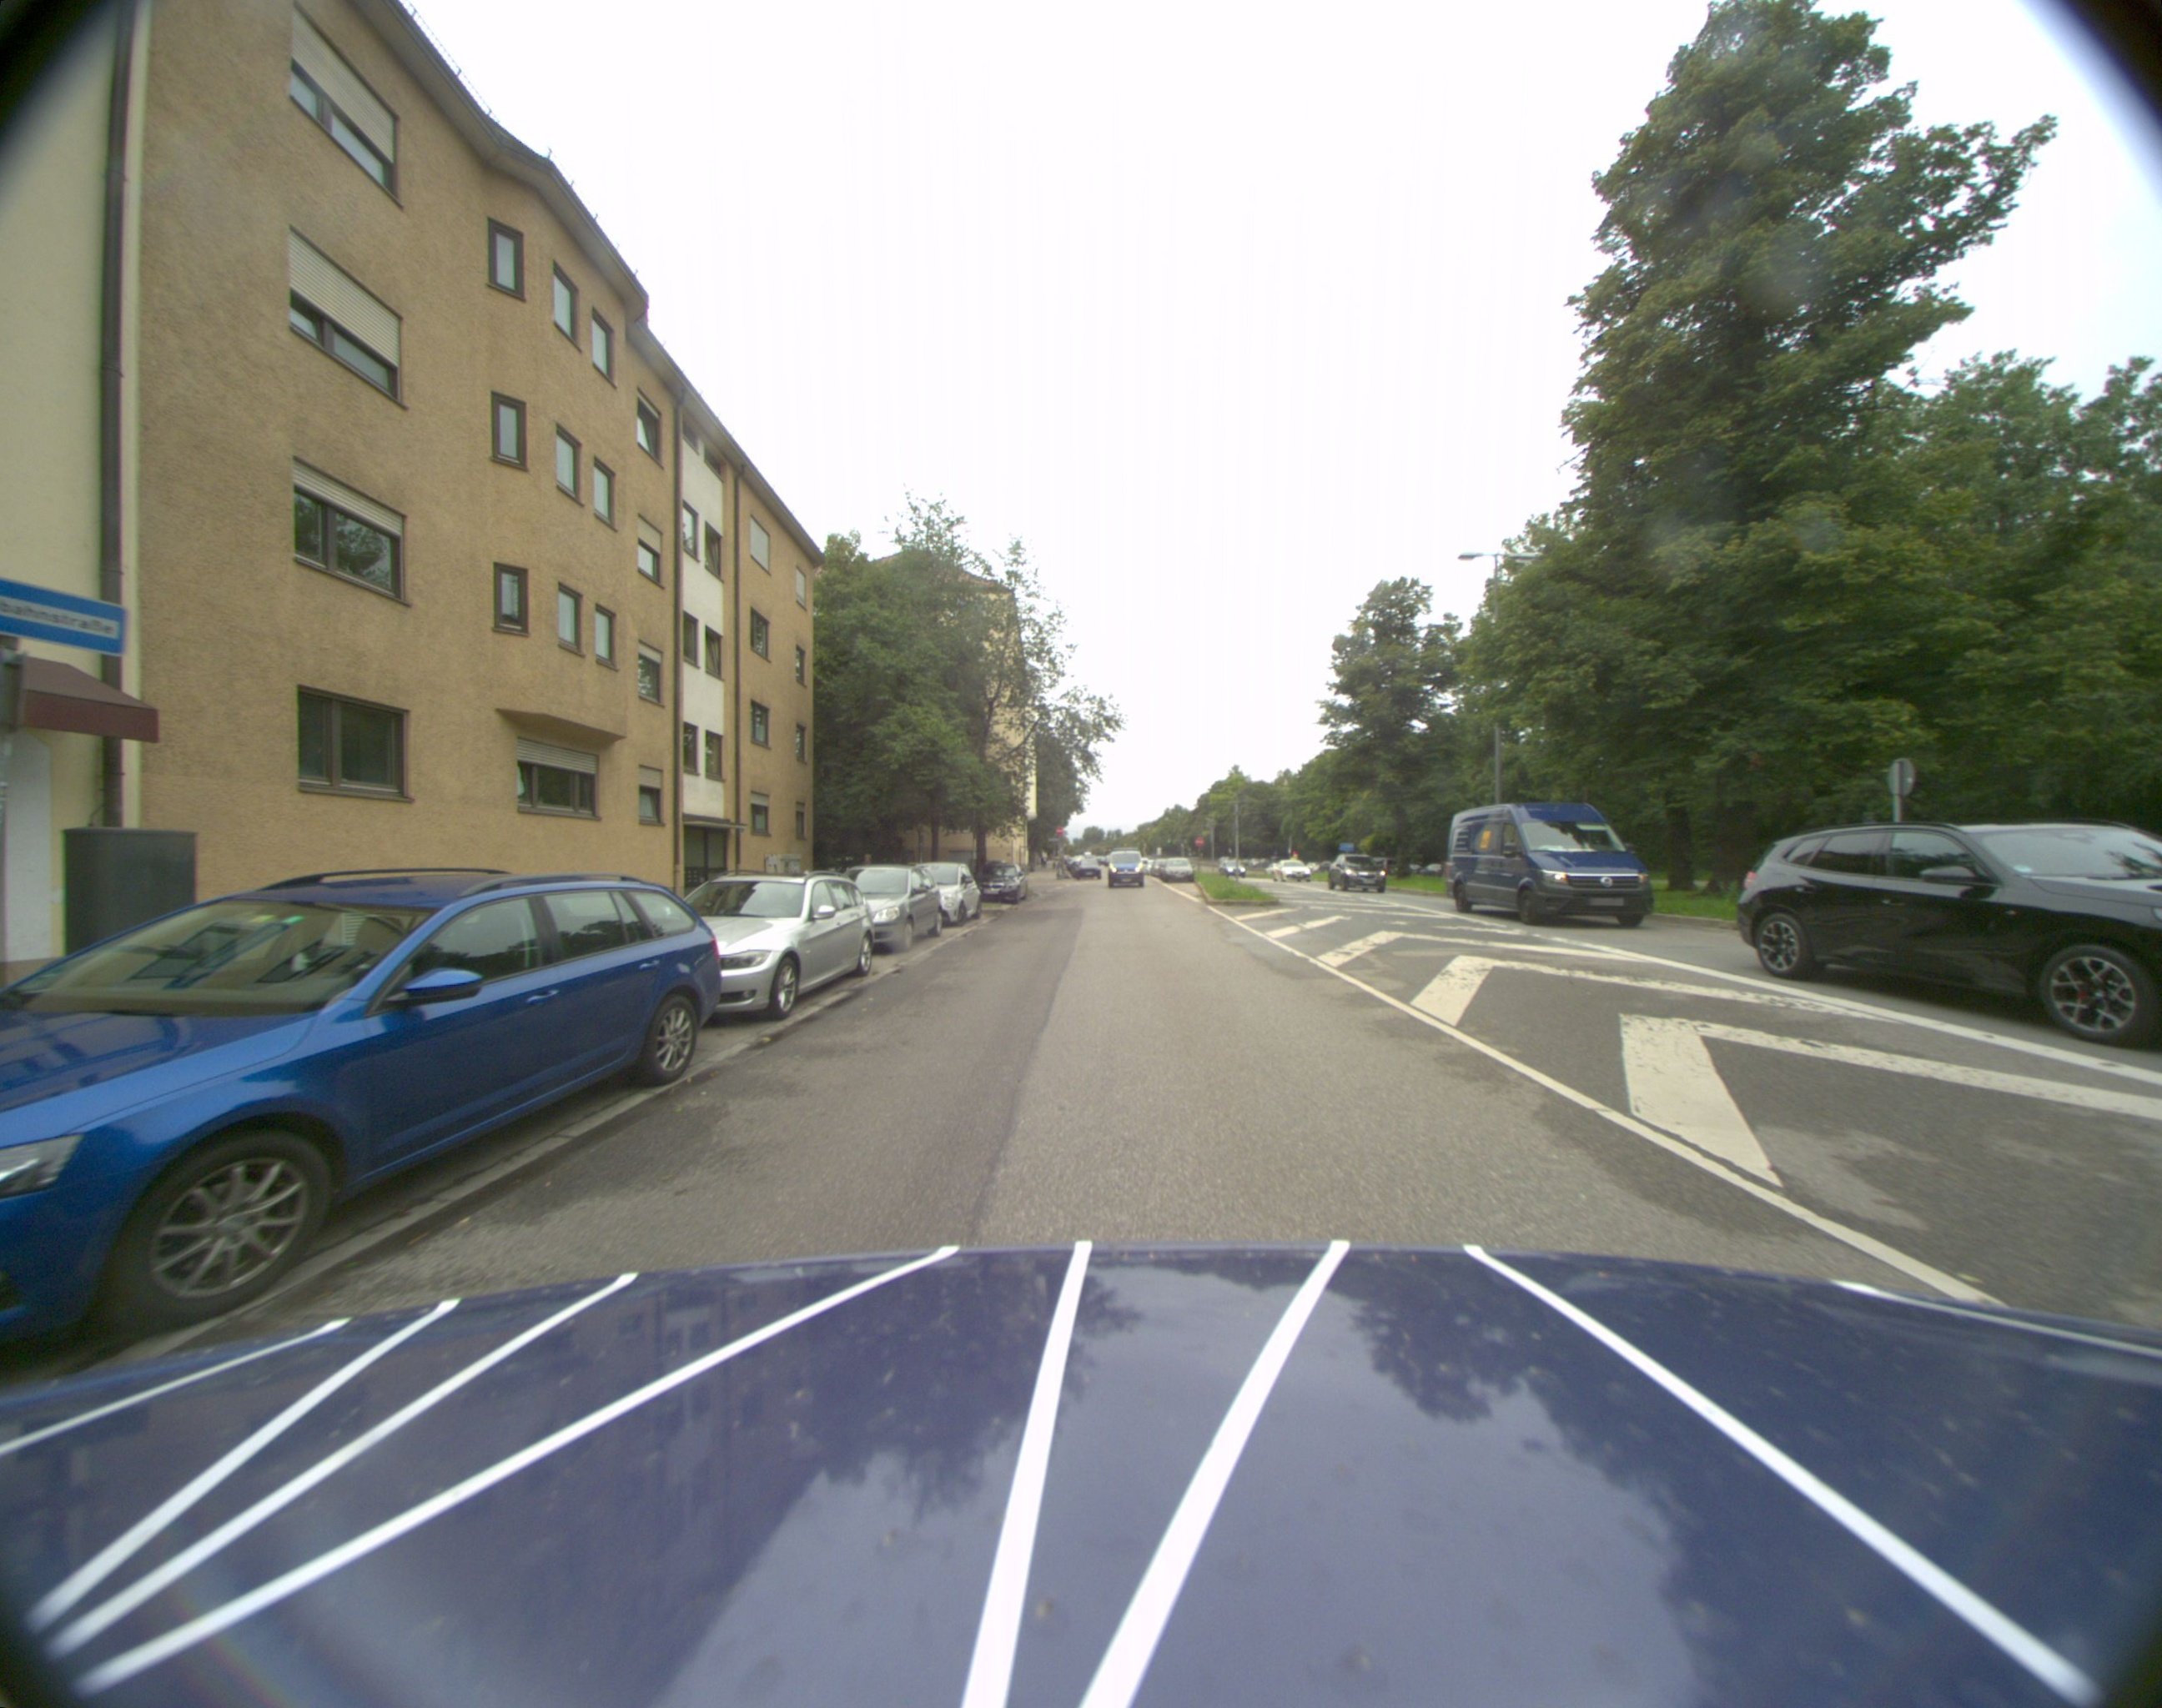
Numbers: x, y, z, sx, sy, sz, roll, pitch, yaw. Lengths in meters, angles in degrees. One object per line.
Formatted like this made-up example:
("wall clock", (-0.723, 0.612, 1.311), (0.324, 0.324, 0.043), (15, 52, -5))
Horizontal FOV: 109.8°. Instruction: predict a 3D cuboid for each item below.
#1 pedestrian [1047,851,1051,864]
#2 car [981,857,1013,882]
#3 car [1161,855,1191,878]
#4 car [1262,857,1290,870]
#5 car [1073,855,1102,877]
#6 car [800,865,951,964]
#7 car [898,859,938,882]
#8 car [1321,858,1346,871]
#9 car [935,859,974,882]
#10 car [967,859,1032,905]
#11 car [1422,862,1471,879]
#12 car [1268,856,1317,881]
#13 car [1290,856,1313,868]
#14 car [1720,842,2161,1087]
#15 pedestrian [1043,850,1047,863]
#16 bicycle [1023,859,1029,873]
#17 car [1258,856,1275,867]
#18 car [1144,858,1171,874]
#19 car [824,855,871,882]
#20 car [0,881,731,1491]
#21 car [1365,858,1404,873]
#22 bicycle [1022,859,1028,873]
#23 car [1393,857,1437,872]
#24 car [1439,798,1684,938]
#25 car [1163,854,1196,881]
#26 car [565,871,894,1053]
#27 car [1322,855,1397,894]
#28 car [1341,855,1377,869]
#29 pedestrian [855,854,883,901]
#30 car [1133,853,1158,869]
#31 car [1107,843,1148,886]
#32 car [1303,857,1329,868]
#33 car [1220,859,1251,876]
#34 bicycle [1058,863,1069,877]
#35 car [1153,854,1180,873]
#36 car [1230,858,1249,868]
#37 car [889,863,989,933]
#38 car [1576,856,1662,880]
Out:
("pedestrian", (-4.951, 0.602, 117.633), (0.458, 2.002, 0.617), (0, 0, -18))
("car", (-5.500, 1.002, 50.263), (1.825, 1.556, 4.244), (0, 0, -3))
("car", (6.646, 0.826, 53.266), (1.991, 1.556, 4.285), (0, 0, 6))
("car", (22.155, 1.076, 86.490), (1.833, 1.438, 4.234), (1, 0, -5))
("car", (0.562, 0.905, 59.276), (2.129, 1.556, 4.507), (-1, 0, 1))
("car", (-3.591, 0.987, 13.958), (1.632, 1.487, 3.787), (1, 0, 2))
("car", (-10.724, 1.063, 50.225), (1.917, 1.458, 4.244), (0, 0, -3))
("car", (31.976, 1.342, 96.319), (1.911, 1.548, 3.999), (0, 1, -1))
("car", (-8.329, 1.077, 50.413), (2.054, 1.458, 4.244), (0, 0, -3))
("car", (-2.922, 0.975, 28.177), (1.796, 1.488, 4.376), (2, 0, 1))
("car", (32.631, 1.421, 68.065), (1.999, 1.438, 4.524), (1, 0, -3))
("car", (14.085, 0.939, 50.839), (1.992, 1.556, 4.654), (0, 0, -1))
("car", (31.454, 1.143, 108.479), (1.998, 1.735, 4.000), (0, 0, 0))
("car", (8.189, 0.709, 6.469), (1.917, 1.577, 4.833), (-1, 0, 8))
("pedestrian", (-5.603, 0.376, 116.851), (0.458, 2.002, 0.617), (0, 0, -18))
("bicycle", (-4.743, 1.033, 65.659), (0.401, 1.164, 1.318), (0, 0, -11))
("car", (30.751, 1.295, 126.111), (1.866, 1.735, 4.000), (0, 0, 0))
("car", (7.436, 1.130, 74.230), (1.993, 1.447, 4.281), (0, 0, -3))
("car", (-15.310, 0.912, 50.059), (1.917, 1.741, 4.244), (0, 0, -2))
("car", (-3.735, 0.966, 3.801), (1.761, 1.487, 4.488), (1, 0, 2))
("car", (31.895, 1.227, 80.038), (1.999, 1.526, 4.705), (1, 0, -3))
("bicycle", (-4.696, 0.999, 63.416), (0.364, 1.164, 1.318), (0, 0, -9))
("car", (32.294, 0.993, 73.651), (1.999, 1.438, 4.524), (1, 0, -3))
("car", (9.885, 0.216, 16.401), (2.188, 2.449, 5.854), (0, 1, 7))
("car", (6.058, 0.808, 47.240), (1.903, 1.556, 4.773), (0, 0, 6))
("car", (-3.645, 0.994, 8.905), (1.694, 1.487, 4.434), (1, 0, 1))
("car", (12.423, 0.868, 34.130), (1.992, 1.618, 4.274), (0, 0, 3))
("car", (28.707, 0.824, 78.531), (1.897, 1.438, 4.031), (0, 0, -5))
("pedestrian", (-7.467, 0.818, 26.762), (0.672, 1.614, 0.980), (0, 1, 2))
("car", (7.033, 0.757, 83.421), (2.075, 1.692, 5.089), (-1, 0, -3))
("car", (2.575, 0.522, 41.053), (1.855, 2.198, 4.555), (0, 1, 8))
("car", (31.551, 1.134, 102.181), (1.999, 1.438, 4.316), (1, 0, -4))
("car", (14.854, 1.305, 73.210), (1.992, 1.556, 4.272), (0, 0, -1))
("bicycle", (-1.349, 1.190, 57.959), (0.632, 1.031, 1.736), (0, 0, 6))
("car", (7.050, 0.751, 63.121), (1.991, 1.556, 4.284), (0, 0, 4))
("car", (22.112, 1.254, 106.074), (1.896, 1.438, 4.033), (0, 0, 0))
("car", (-3.376, 0.988, 18.728), (1.632, 1.487, 3.821), (1, 0, 2))
("car", (33.666, 0.866, 47.739), (1.999, 1.438, 4.524), (1, 0, -3))
